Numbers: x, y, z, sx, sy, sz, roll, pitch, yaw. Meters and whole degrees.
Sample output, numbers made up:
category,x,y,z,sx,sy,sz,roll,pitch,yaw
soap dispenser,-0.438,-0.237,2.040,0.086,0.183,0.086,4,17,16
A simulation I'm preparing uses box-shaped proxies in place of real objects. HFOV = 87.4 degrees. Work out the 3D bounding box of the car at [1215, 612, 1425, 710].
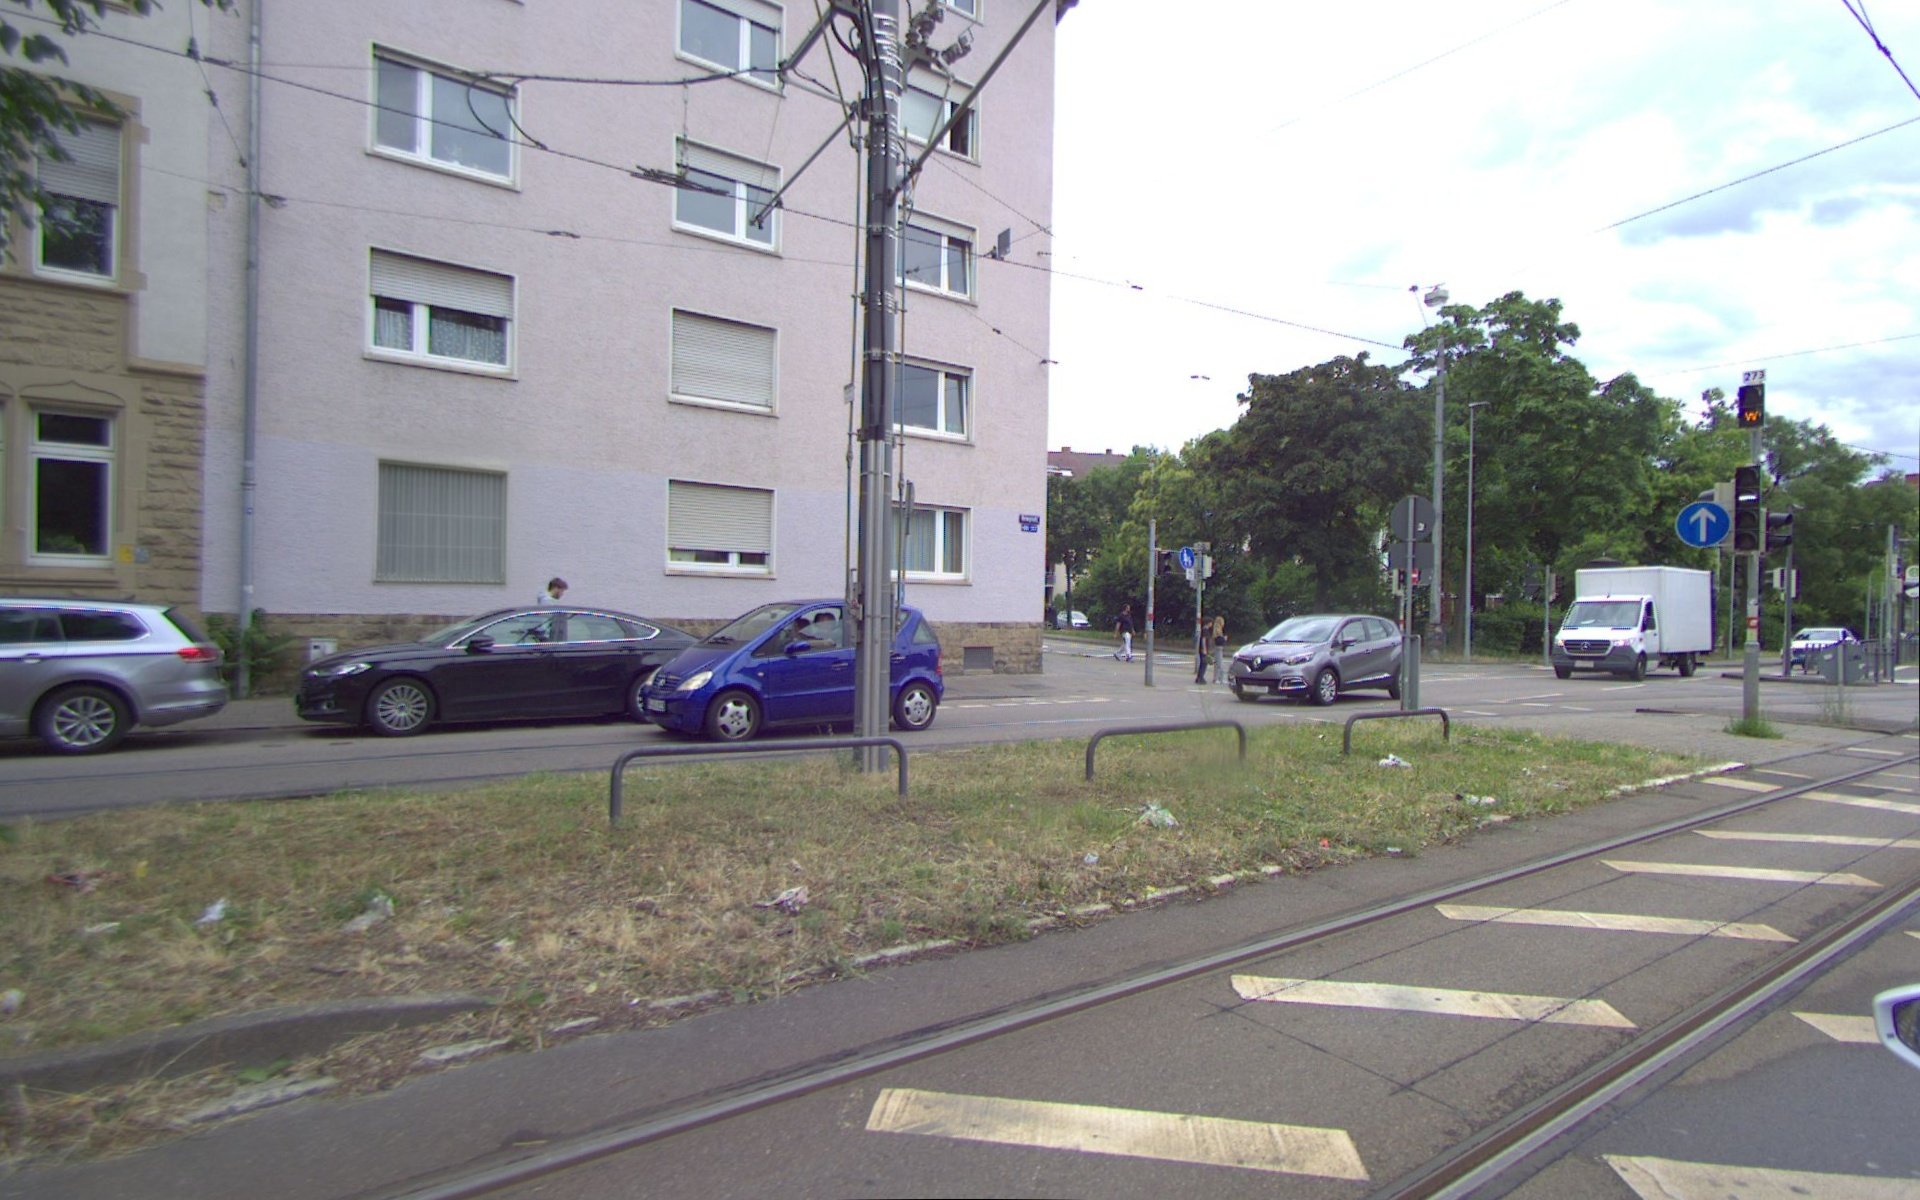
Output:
category,x,y,z,sx,sy,sz,roll,pitch,yaw
car,6.568,1.042,18.156,4.095,1.555,1.631,2,0,-38

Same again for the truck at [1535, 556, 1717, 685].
category,x,y,z,sx,sy,sz,roll,pitch,yaw
truck,18.704,0.593,28.022,7.270,3.199,2.167,2,0,-39

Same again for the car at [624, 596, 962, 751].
category,x,y,z,sx,sy,sz,roll,pitch,yaw
car,-1.896,0.784,11.876,3.599,1.555,1.631,2,0,-39

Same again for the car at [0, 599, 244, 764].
category,x,y,z,sx,sy,sz,roll,pitch,yaw
car,-9.445,0.719,9.301,4.529,1.462,1.622,1,0,-38

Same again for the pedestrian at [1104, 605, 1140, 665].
category,x,y,z,sx,sy,sz,roll,pitch,yaw
pedestrian,5.247,1.129,32.570,1.025,1.899,0.836,1,0,0

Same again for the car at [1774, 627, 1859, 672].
category,x,y,z,sx,sy,sz,roll,pitch,yaw
car,34.574,1.962,40.502,4.497,1.661,1.756,2,0,-38

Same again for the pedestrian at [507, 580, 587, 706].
category,x,y,z,sx,sy,sz,roll,pitch,yaw
pedestrian,-6.113,0.622,14.861,0.892,1.790,0.792,1,0,-37

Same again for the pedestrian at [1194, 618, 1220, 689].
category,x,y,z,sx,sy,sz,roll,pitch,yaw
pedestrian,5.661,1.213,23.037,0.523,1.578,0.571,1,0,9

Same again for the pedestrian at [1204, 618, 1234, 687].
category,x,y,z,sx,sy,sz,roll,pitch,yaw
pedestrian,6.061,1.218,23.497,0.524,1.578,0.569,1,0,31

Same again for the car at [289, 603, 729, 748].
category,x,y,z,sx,sy,sz,roll,pitch,yaw
car,-5.392,0.823,12.401,4.720,1.462,1.622,1,0,-38
